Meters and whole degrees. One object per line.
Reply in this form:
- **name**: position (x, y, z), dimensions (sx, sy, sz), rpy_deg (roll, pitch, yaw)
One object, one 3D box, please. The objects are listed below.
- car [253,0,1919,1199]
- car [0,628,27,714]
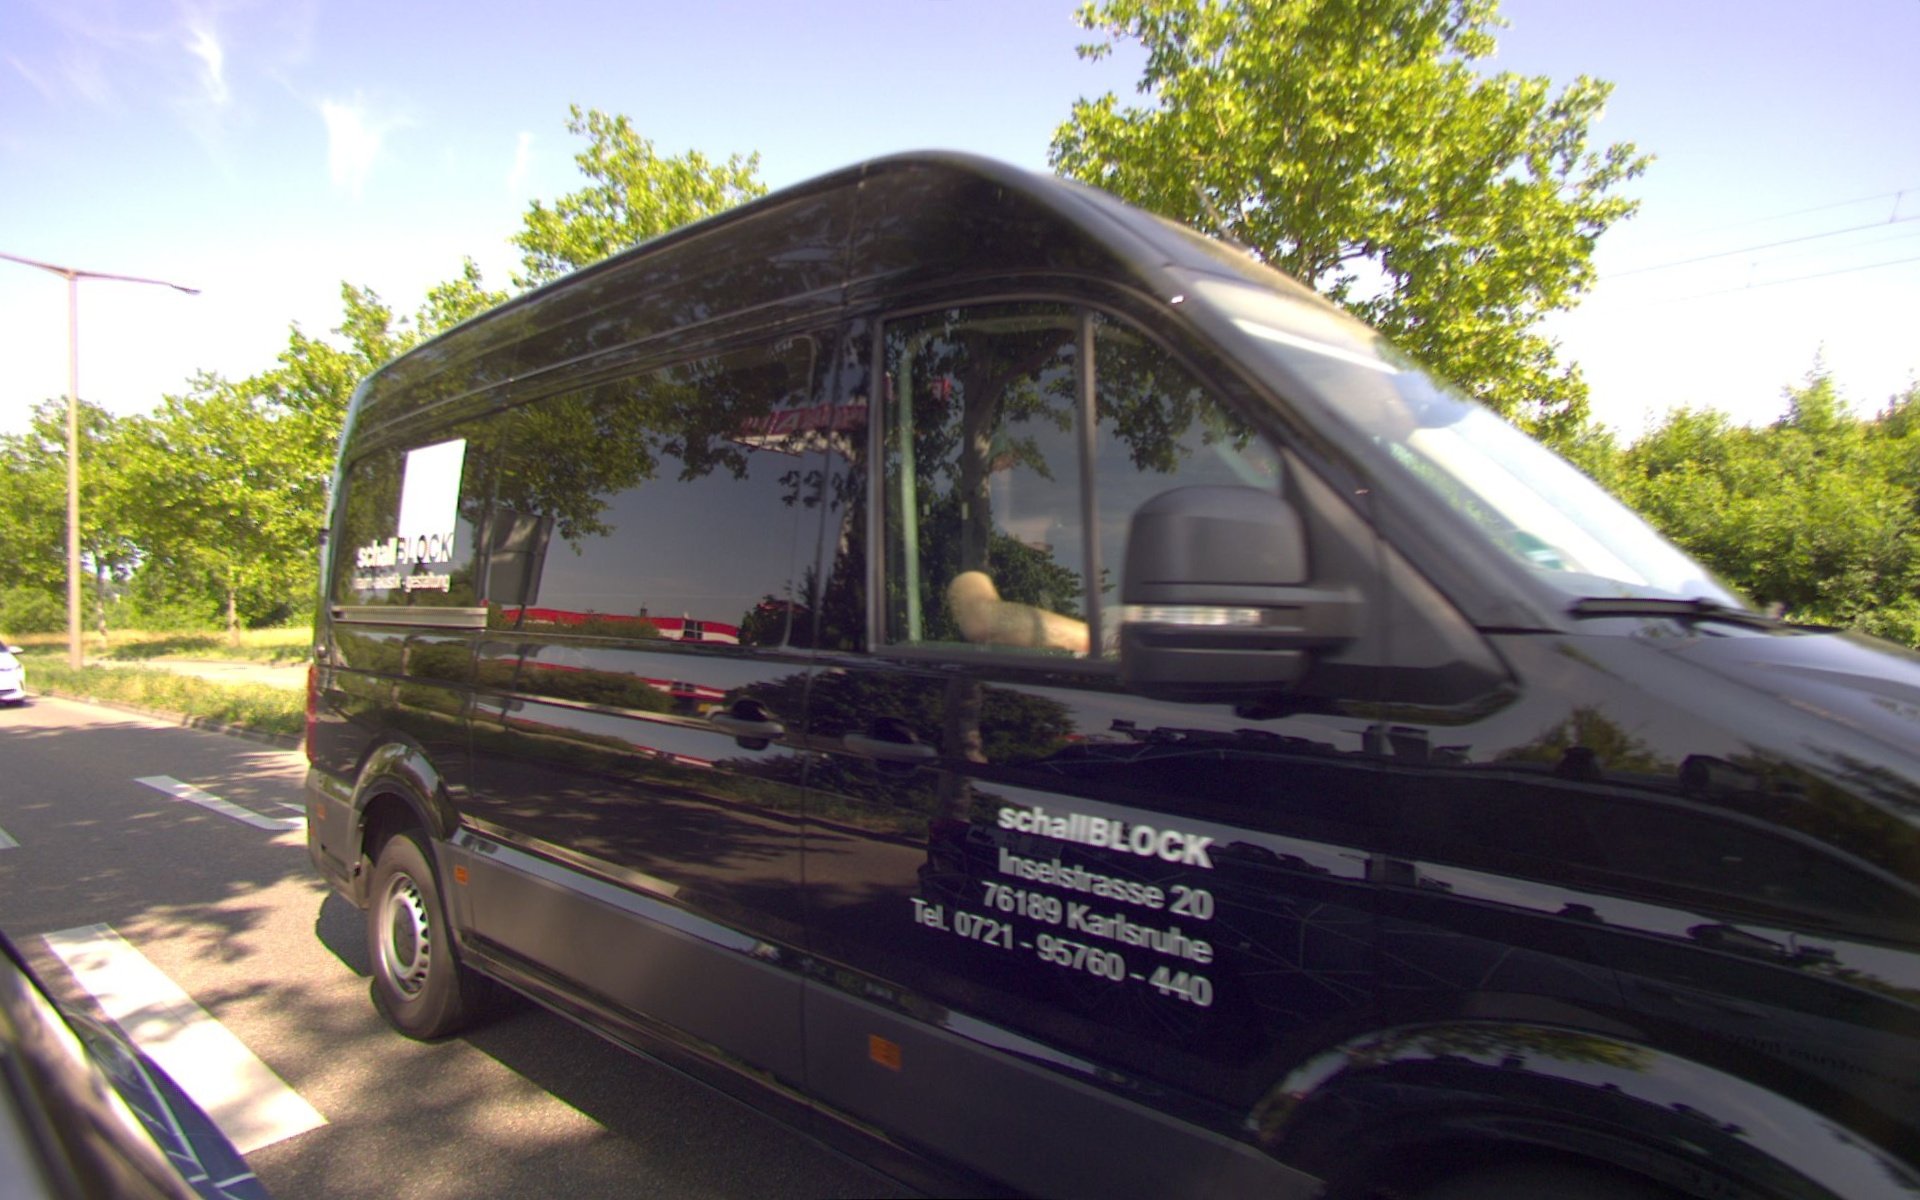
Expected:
- **car**: position (-0.097, 0.137, 3.139), dimensions (6.165, 2.627, 1.995), rpy_deg (-1, 0, 41)
- **car**: position (-19.262, 1.329, 19.055), dimensions (4.201, 1.533, 1.802), rpy_deg (-2, -1, 37)
